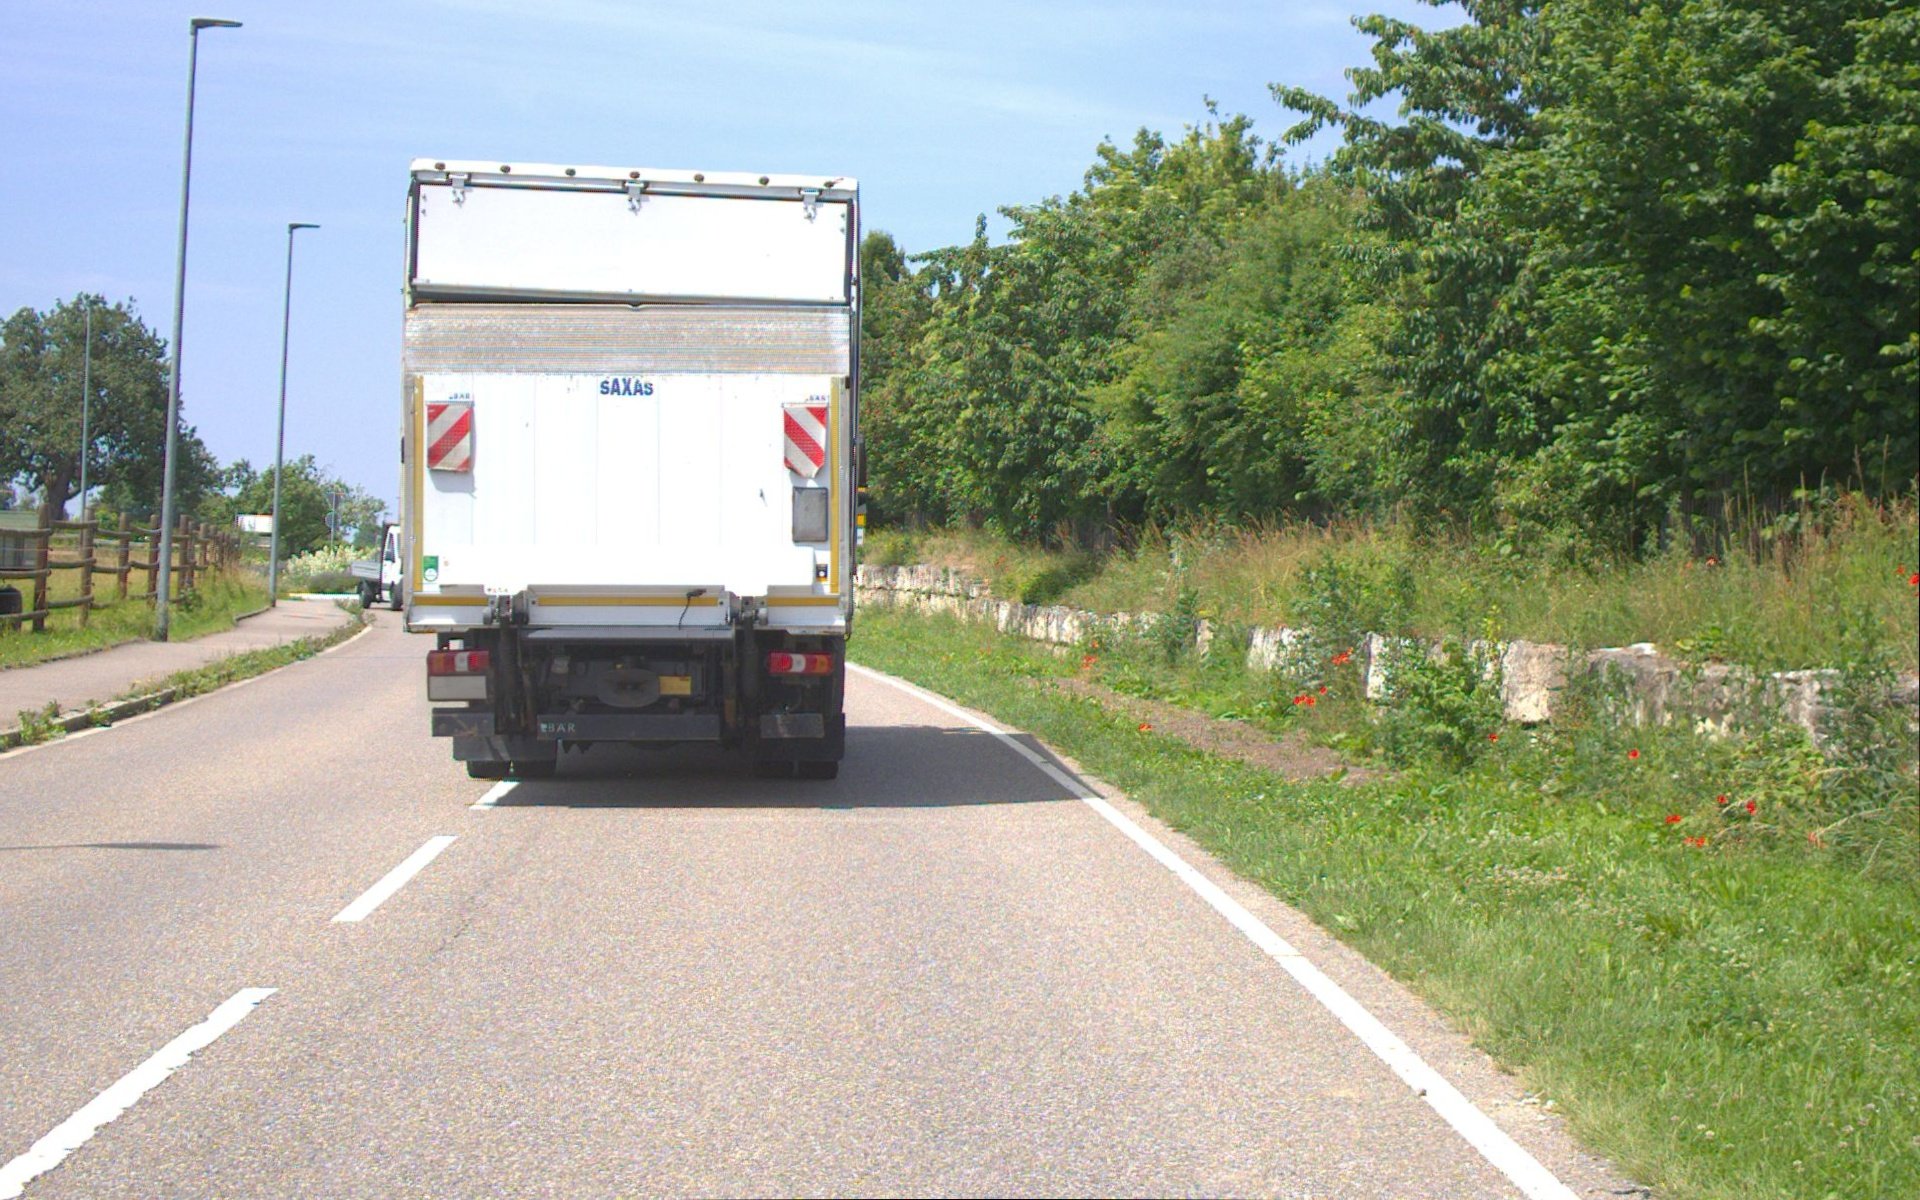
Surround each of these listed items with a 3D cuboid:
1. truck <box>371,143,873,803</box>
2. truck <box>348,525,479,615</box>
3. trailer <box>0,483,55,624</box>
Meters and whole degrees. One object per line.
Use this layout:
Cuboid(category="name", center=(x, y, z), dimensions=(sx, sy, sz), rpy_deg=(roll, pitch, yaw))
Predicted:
Cuboid(category="truck", center=(-2.069, -0.762, 23.892), dimensions=(2.766, 3.658, 9.383), rpy_deg=(1, 1, -2))
Cuboid(category="truck", center=(-14.691, -0.817, 92.090), dimensions=(2.222, 2.285, 6.494), rpy_deg=(1, 1, -20))
Cuboid(category="trailer", center=(-12.743, -0.603, 42.654), dimensions=(2.154, 1.697, 5.030), rpy_deg=(1, 1, -6))
